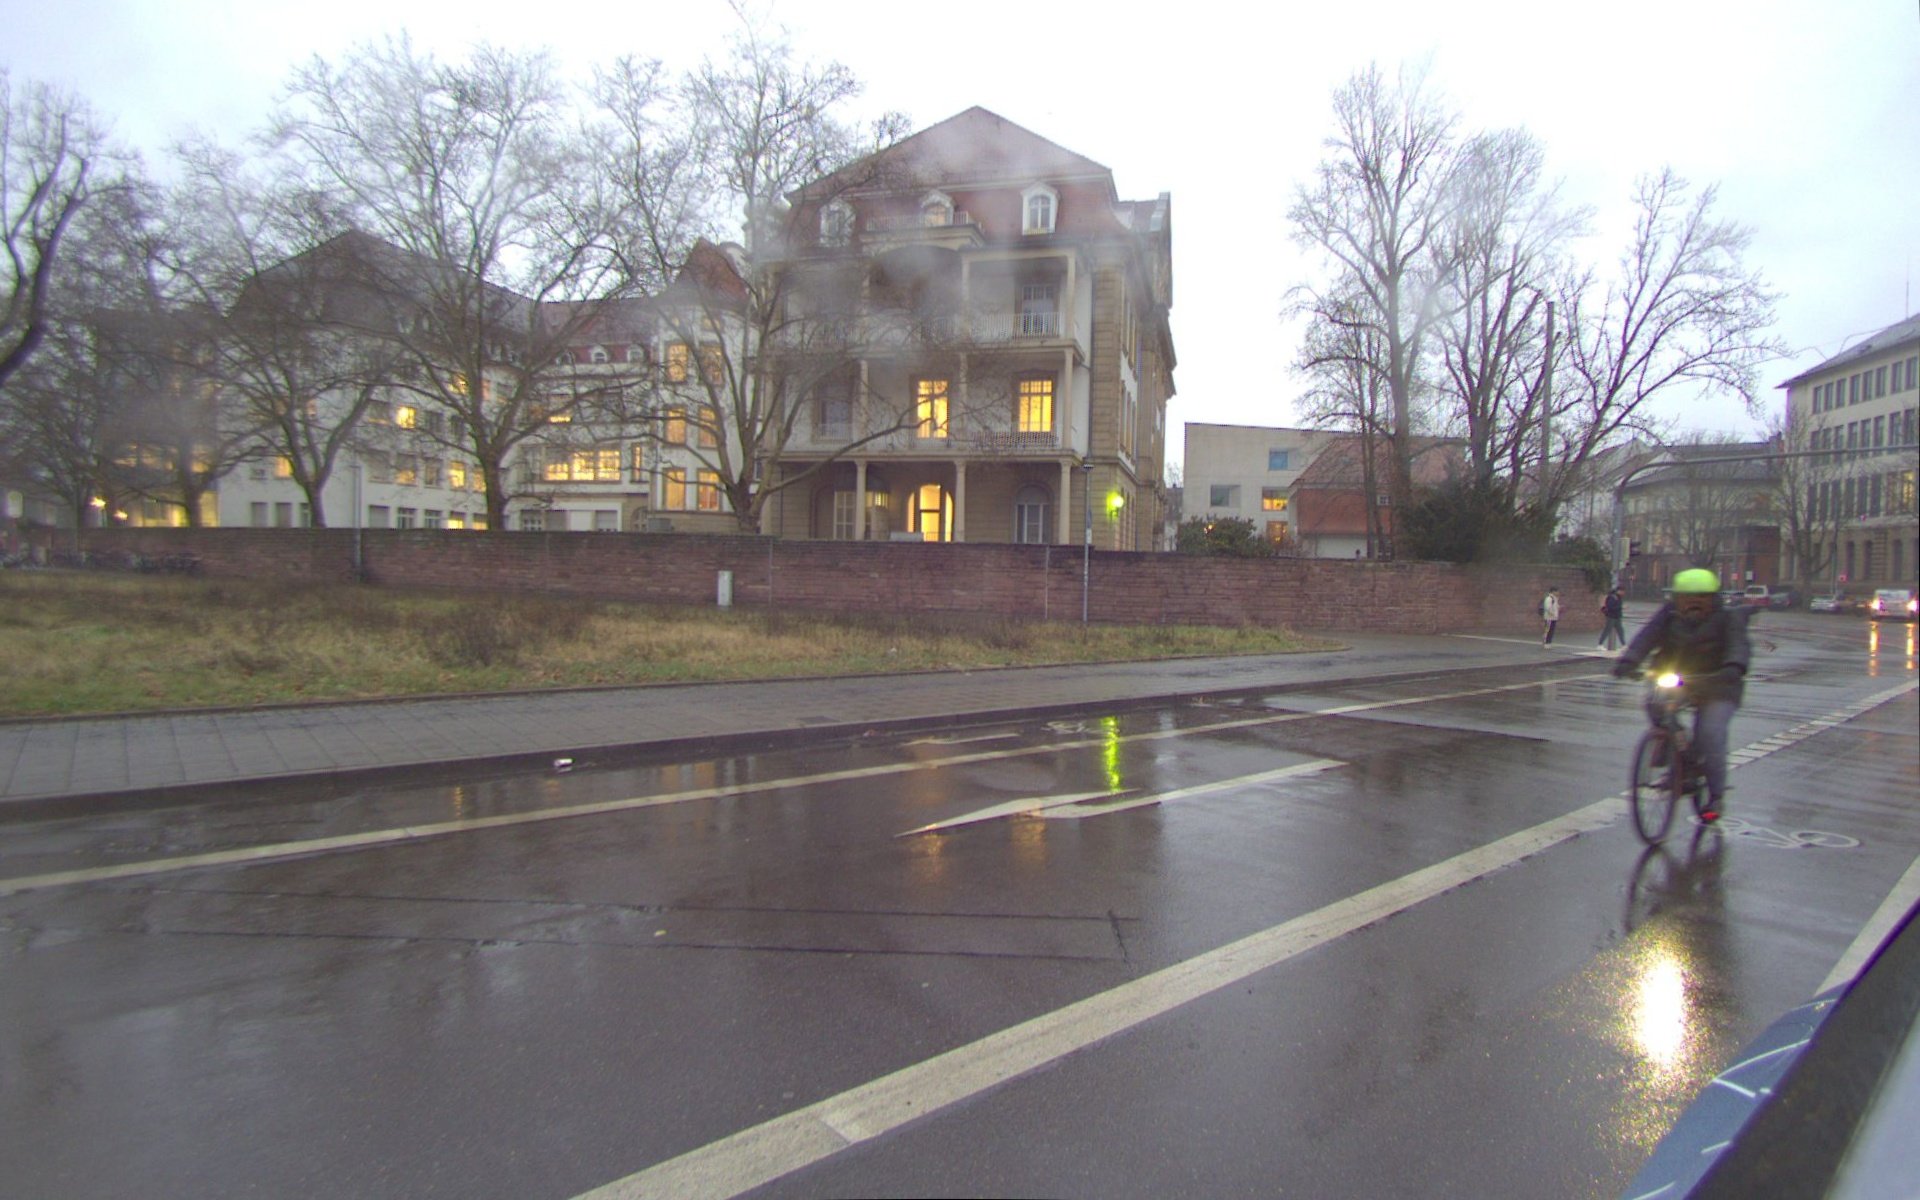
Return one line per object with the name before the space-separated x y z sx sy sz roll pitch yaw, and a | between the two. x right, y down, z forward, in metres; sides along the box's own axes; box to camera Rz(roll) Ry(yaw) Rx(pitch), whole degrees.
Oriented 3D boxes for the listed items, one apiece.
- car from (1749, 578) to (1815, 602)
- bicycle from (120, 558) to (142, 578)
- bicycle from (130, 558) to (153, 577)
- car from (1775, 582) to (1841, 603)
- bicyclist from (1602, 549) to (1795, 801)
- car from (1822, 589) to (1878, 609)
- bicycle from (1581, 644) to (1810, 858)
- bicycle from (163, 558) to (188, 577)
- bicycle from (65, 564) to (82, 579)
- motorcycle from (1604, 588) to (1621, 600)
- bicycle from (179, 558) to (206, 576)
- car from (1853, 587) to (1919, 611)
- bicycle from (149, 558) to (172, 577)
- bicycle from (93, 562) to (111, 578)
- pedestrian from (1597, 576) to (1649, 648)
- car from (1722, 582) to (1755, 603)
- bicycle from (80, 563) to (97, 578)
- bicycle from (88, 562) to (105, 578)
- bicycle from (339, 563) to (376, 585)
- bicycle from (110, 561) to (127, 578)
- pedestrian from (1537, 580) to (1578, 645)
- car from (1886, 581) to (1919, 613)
car | 64.979 -0.796 80.025 3.916 1.924 2.052 0 0 -13
bicycle | -39.910 -1.542 48.722 1.519 0.928 0.389 0 0 33
bicycle | -38.628 -1.509 47.769 1.519 0.869 0.389 0 0 33
car | 64.697 -0.590 77.228 3.916 1.570 1.805 0 0 -13
bicyclist | 4.805 0.429 6.577 1.114 1.471 0.784 0 0 -41
car | 63.600 -0.086 72.302 3.568 1.322 1.712 -1 0 -25
bicycle | 4.798 0.878 6.552 1.923 1.088 0.784 -1 0 -41
bicycle | -35.552 -1.471 45.860 1.519 0.796 0.389 0 0 33
bicycle | -47.898 -1.541 54.675 1.522 0.796 0.389 0 0 38
motorcycle | 62.962 -0.594 97.610 0.703 1.067 2.158 3 2 15
bicycle | -34.212 -1.471 45.111 1.399 0.796 0.355 0 0 26
car | 61.961 -0.064 67.008 3.927 1.570 1.800 0 0 4
bicycle | -37.032 -1.499 46.886 1.480 0.849 0.346 0 0 32
bicycle | -43.133 -1.498 50.897 1.522 0.796 0.389 0 0 38
pedestrian | 18.465 0.318 28.199 0.662 1.924 0.998 0 3 -41
car | 66.478 -0.649 86.390 1.992 1.690 3.940 0 1 42
bicycle | -45.444 -1.535 52.742 1.522 0.796 0.389 0 0 38
bicycle | -44.180 -1.532 51.768 1.522 0.796 0.389 0 0 38
bicycle | -23.386 -0.990 39.272 1.366 0.835 0.392 0 0 14
bicycle | -41.476 -1.479 49.877 1.599 0.796 0.388 0 0 41
pedestrian | 16.691 0.327 28.265 0.796 1.744 0.664 4 3 42
car | 57.094 -0.220 60.858 3.935 1.868 1.879 -1 0 -44
